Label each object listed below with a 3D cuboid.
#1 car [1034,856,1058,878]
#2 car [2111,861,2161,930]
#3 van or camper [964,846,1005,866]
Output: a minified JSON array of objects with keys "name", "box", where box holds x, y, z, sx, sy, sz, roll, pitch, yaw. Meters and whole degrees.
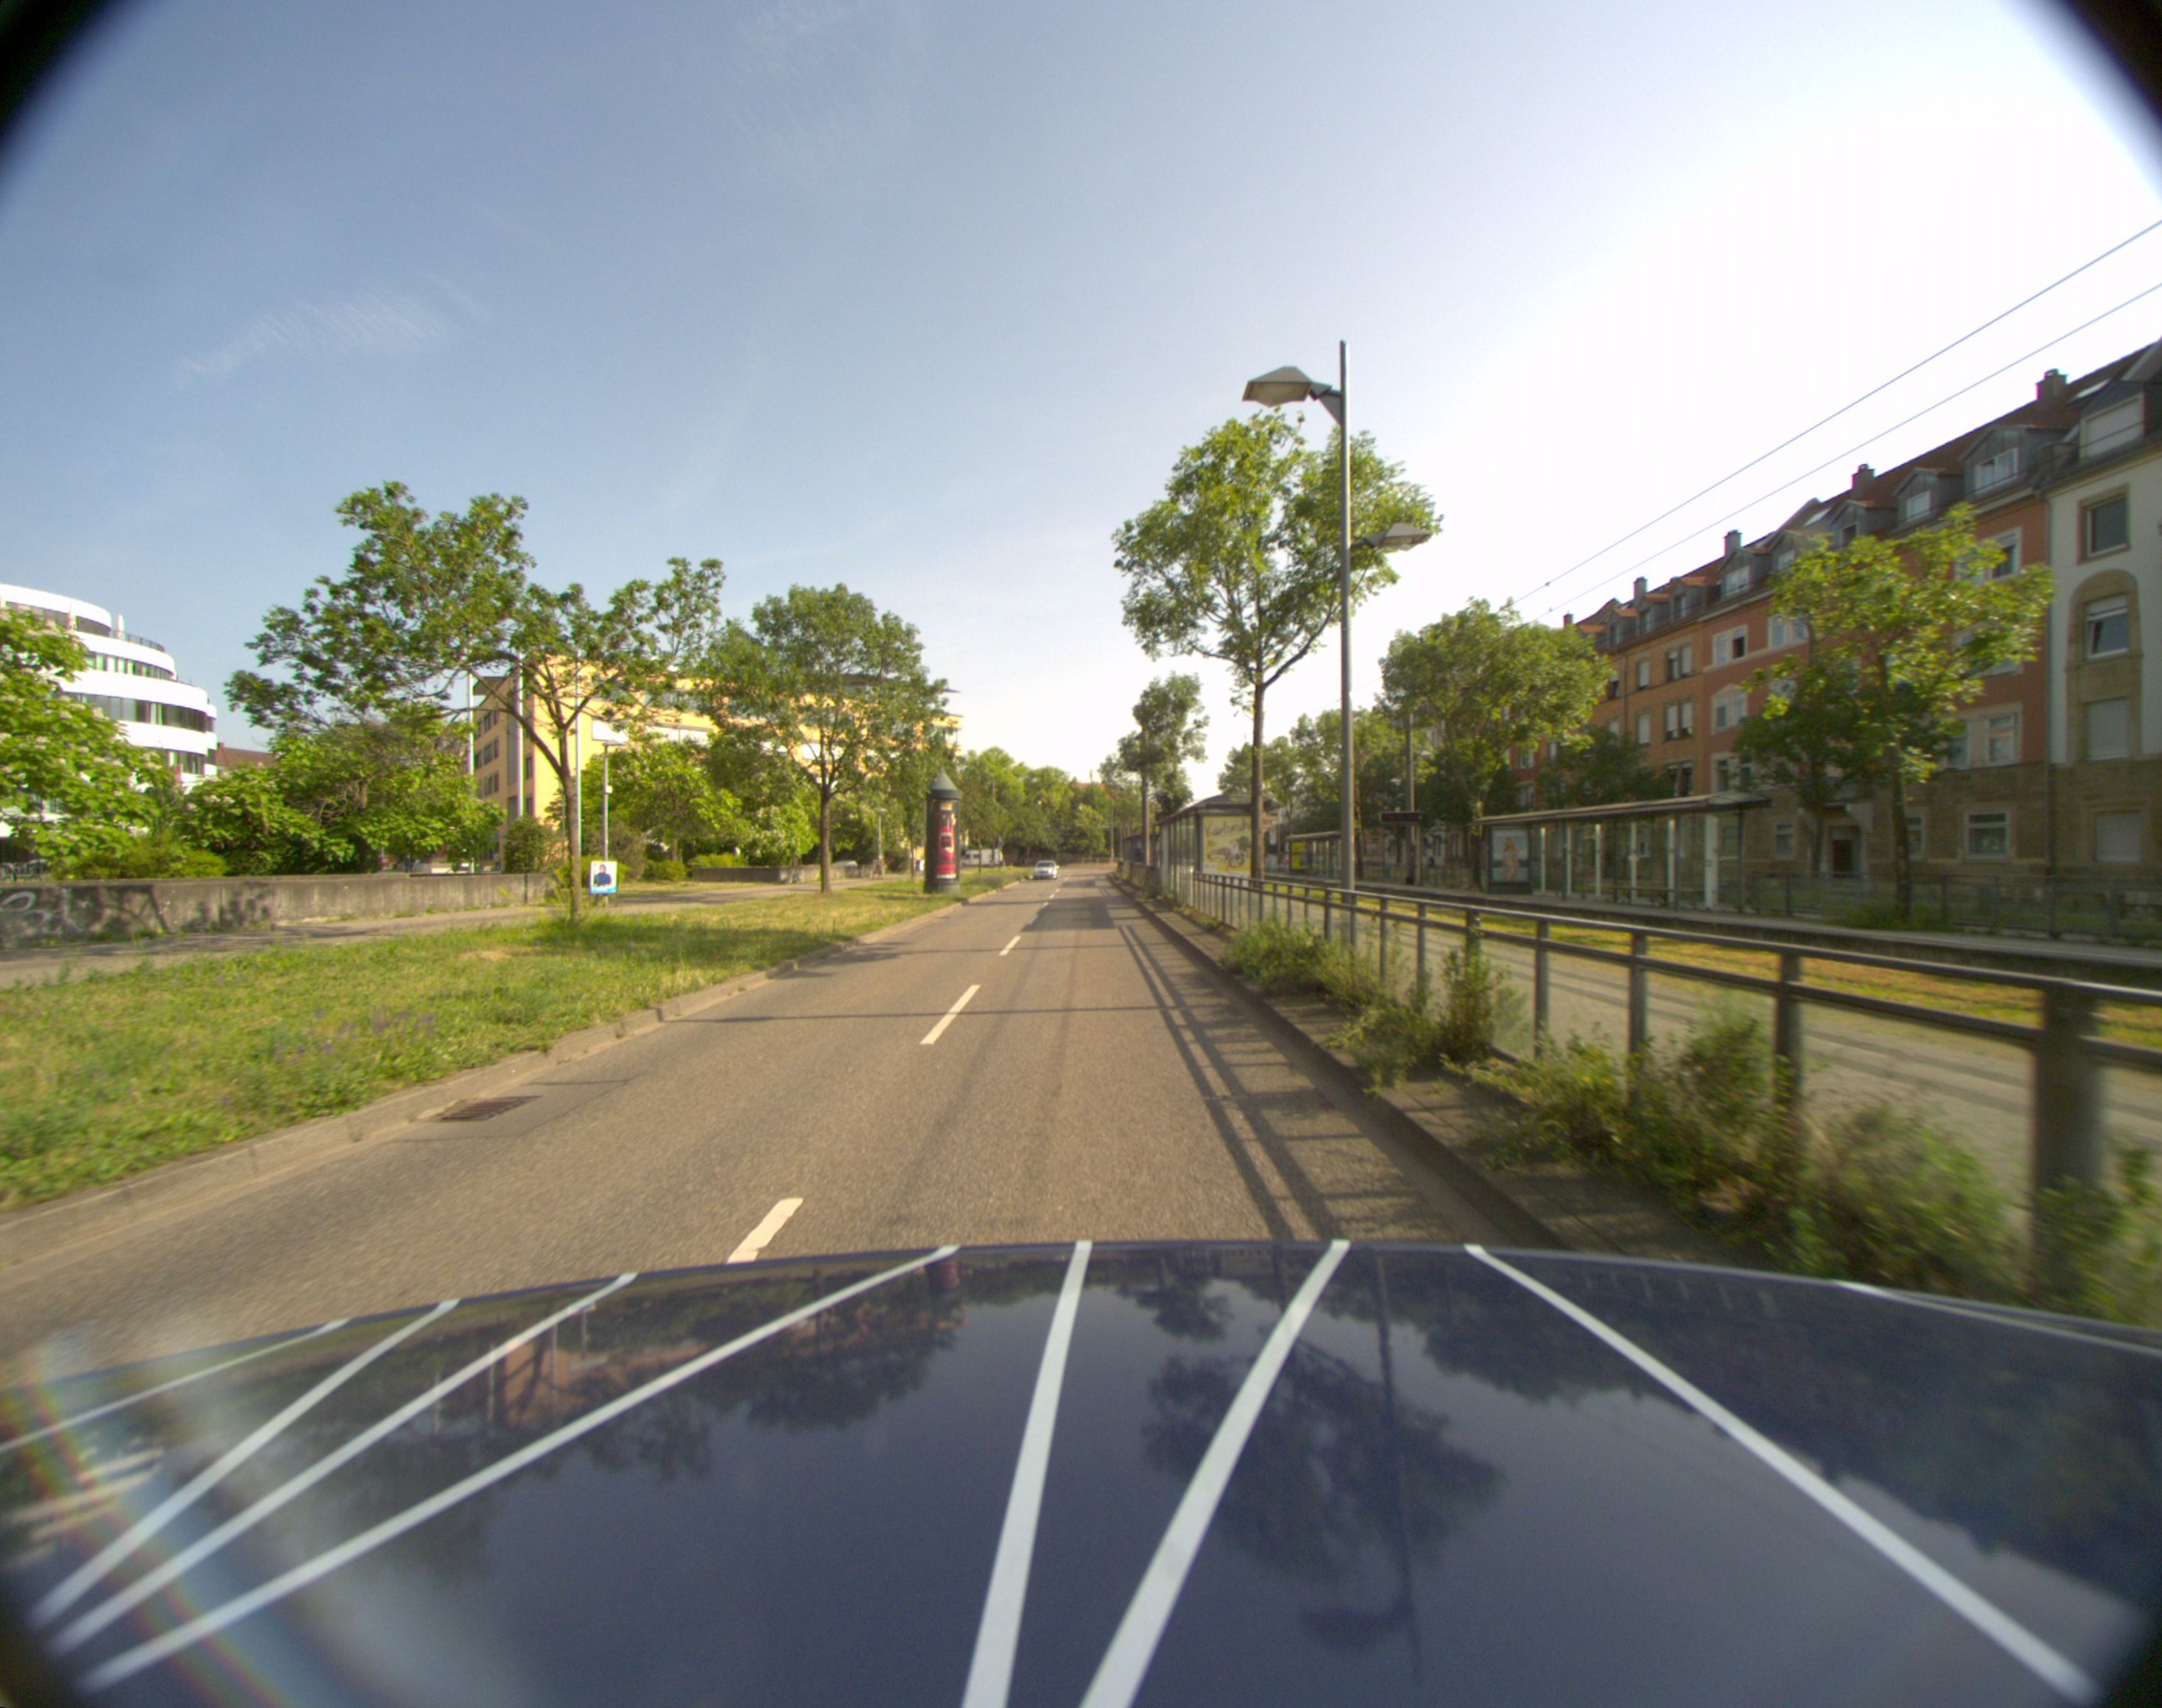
[{"name":"car","box":[-2.579,0.958,56.829,1.629,1.476,3.366,-3,1,-1]},{"name":"car","box":[27.291,1.011,17.428,1.907,1.610,4.000,-3,1,1]},{"name":"van or camper","box":[-14.247,0.277,112.850,5.801,2.678,2.407,-2,1,-3]}]
